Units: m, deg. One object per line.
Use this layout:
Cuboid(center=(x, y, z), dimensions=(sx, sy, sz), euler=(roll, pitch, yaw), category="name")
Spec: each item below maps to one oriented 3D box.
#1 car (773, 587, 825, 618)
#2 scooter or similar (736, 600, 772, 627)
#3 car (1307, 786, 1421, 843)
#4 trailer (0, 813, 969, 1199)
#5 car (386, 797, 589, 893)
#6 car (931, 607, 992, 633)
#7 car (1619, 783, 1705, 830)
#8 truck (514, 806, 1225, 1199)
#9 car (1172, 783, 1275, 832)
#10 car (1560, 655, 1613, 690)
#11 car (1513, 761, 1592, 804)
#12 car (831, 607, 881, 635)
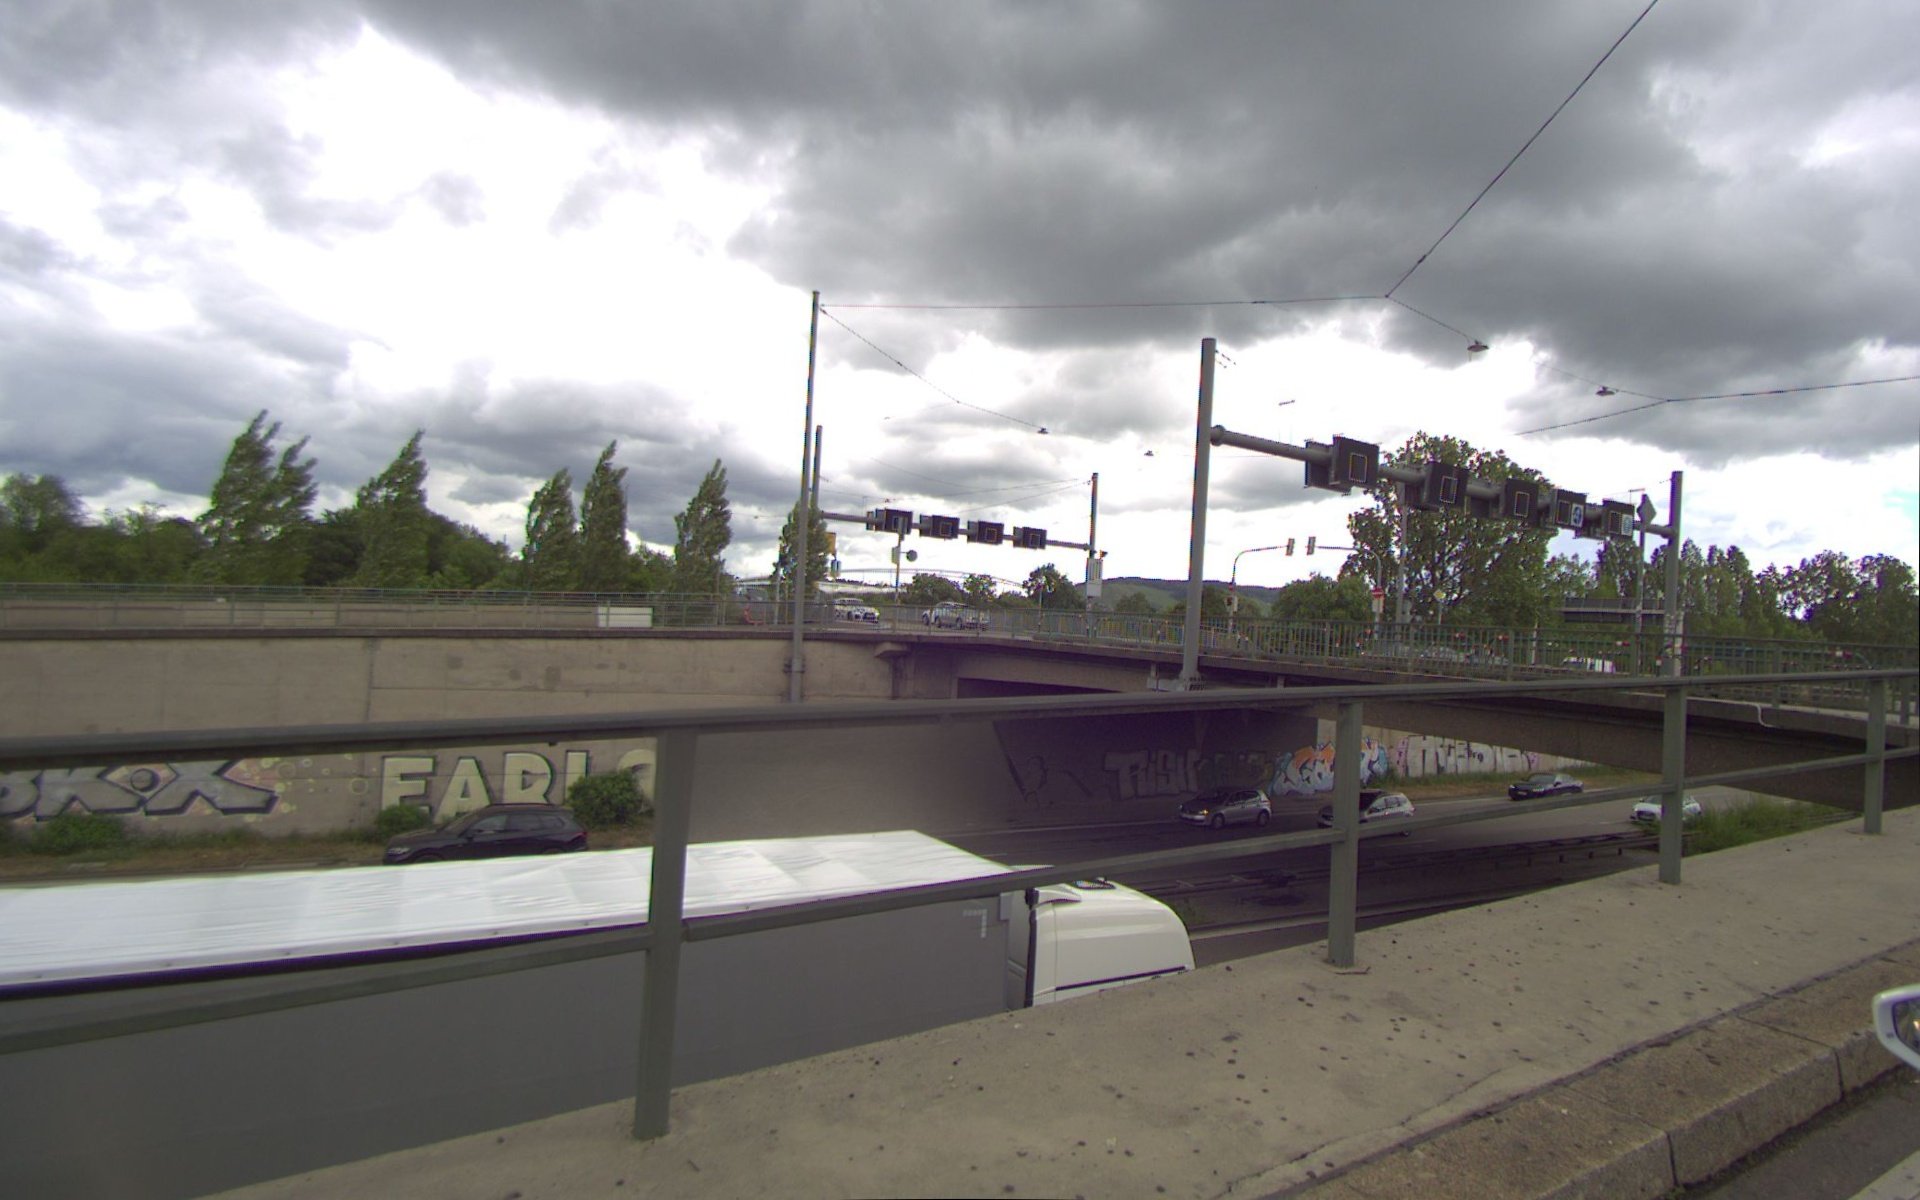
Cuboid(center=(-10.892, 0.161, 67.780), dimensions=(1.711, 2.040, 4.443), euler=(1, 0, -35), category="car")
Cuboid(center=(-8.885, 0.573, 43.307), dimensions=(1.402, 1.108, 0.539), euler=(3, -2, -34), category="scooter or similar")
Cuboid(center=(15.732, 8.287, 39.078), dimensions=(4.257, 1.637, 1.877), euler=(4, -2, -30), category="car")
Cuboid(center=(-6.323, 4.137, 7.218), dimensions=(12.993, 4.306, 2.740), euler=(4, -3, -29), category="trailer")
Cuboid(center=(-12.186, 6.235, 25.985), dimensions=(4.537, 1.774, 1.984), euler=(4, -2, -30), category="car")
Cuboid(center=(0.044, 1.066, 54.877), dimensions=(1.537, 1.372, 3.860), euler=(1, -1, -31), category="car")
Cuboid(center=(32.344, 9.467, 46.248), dimensions=(3.951, 1.519, 1.771), euler=(1, 0, -31), category="car")
Cuboid(center=(-0.778, 4.600, 10.318), dimensions=(6.618, 4.306, 2.740), euler=(4, -3, -29), category="truck")
Cuboid(center=(10.429, 8.163, 39.718), dimensions=(3.877, 1.476, 1.674), euler=(4, -2, -30), category="car")
Cuboid(center=(43.831, 5.022, 70.247), dimensions=(3.626, 2.245, 1.843), euler=(1, 0, -35), category="car")
Cuboid(center=(31.413, 9.629, 53.248), dimensions=(4.059, 1.665, 1.925), euler=(1, 0, -30), category="car")
Cuboid(center=(-6.310, 1.238, 60.497), dimensions=(1.560, 1.587, 3.715), euler=(1, -1, -31), category="car")
